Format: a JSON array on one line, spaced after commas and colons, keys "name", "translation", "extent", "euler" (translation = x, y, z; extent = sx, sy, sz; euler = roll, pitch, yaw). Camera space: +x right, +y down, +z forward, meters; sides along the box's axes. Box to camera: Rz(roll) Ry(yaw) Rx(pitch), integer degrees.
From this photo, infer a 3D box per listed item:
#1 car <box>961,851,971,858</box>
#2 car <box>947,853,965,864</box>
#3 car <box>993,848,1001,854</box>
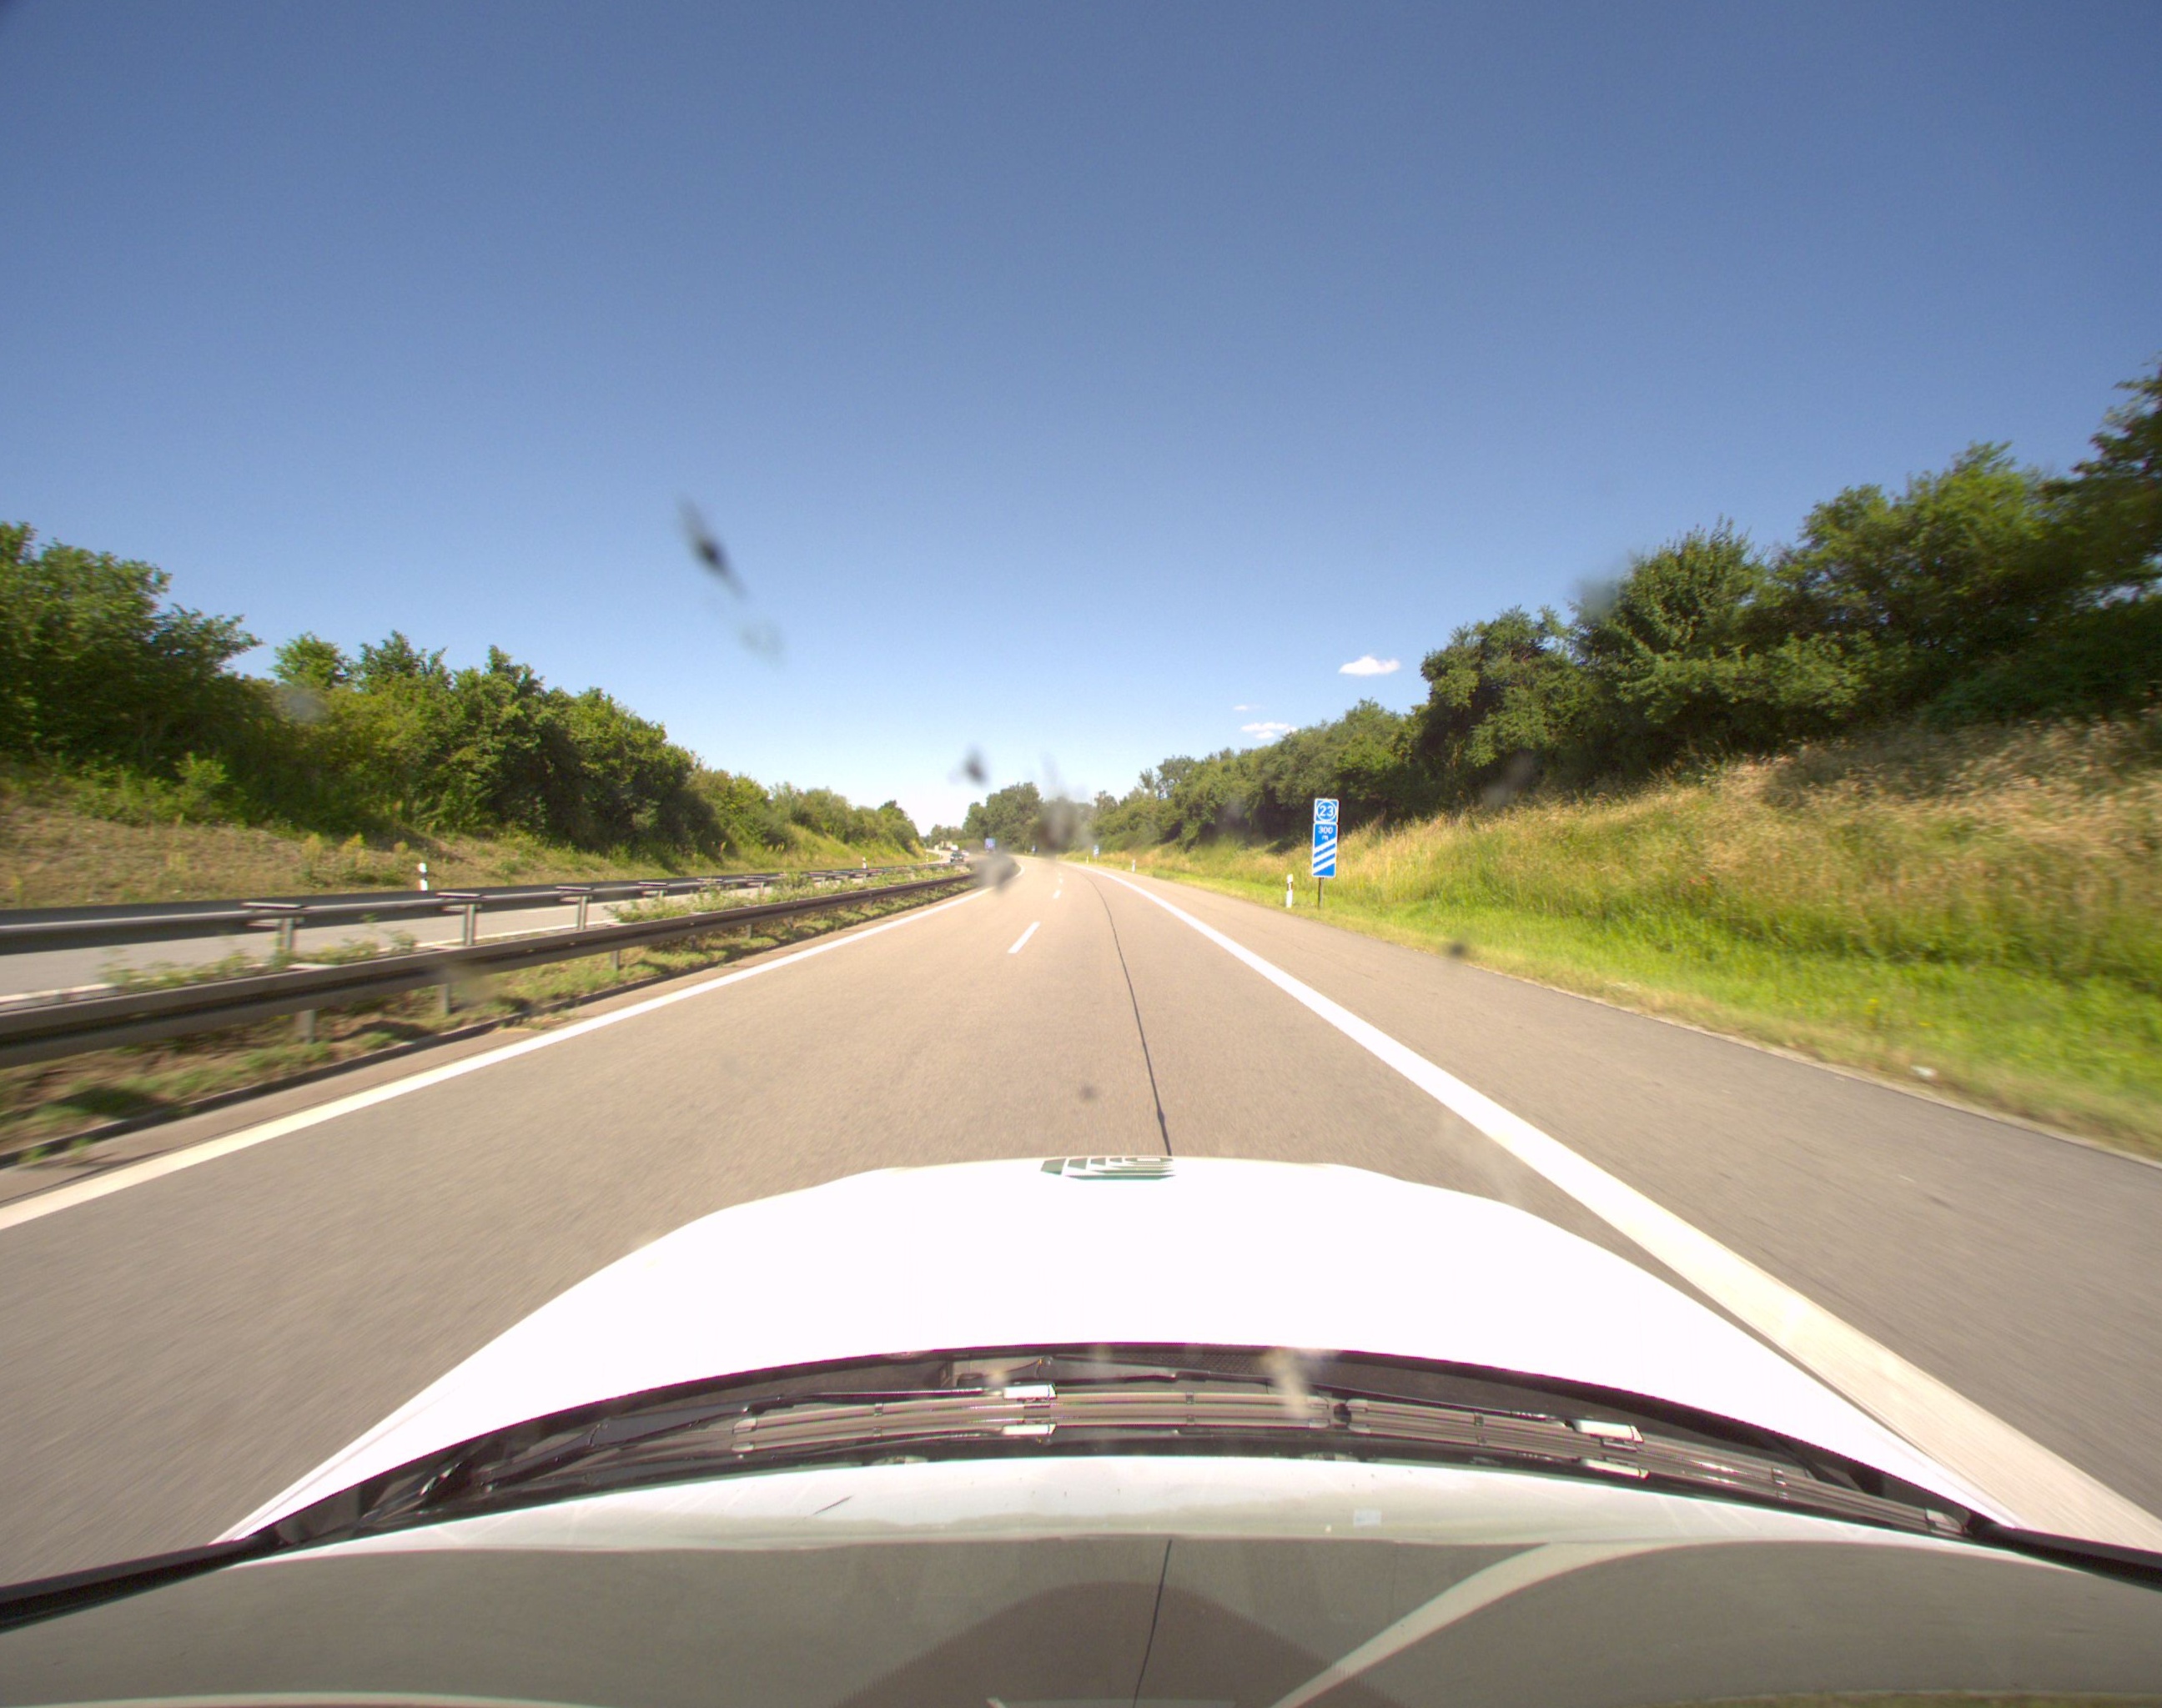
[{"name": "car", "translation": [-25.206, 0.169, 178.295], "extent": [1.896, 1.422, 4.392], "euler": [-1, 1, -4]}, {"name": "car", "translation": [-18.472, 0.712, 120.688], "extent": [1.962, 1.564, 5.170], "euler": [-1, 0, -2]}, {"name": "car", "translation": [-22.631, -0.821, 219.350], "extent": [2.061, 1.625, 3.987], "euler": [0, -2, -9]}]
